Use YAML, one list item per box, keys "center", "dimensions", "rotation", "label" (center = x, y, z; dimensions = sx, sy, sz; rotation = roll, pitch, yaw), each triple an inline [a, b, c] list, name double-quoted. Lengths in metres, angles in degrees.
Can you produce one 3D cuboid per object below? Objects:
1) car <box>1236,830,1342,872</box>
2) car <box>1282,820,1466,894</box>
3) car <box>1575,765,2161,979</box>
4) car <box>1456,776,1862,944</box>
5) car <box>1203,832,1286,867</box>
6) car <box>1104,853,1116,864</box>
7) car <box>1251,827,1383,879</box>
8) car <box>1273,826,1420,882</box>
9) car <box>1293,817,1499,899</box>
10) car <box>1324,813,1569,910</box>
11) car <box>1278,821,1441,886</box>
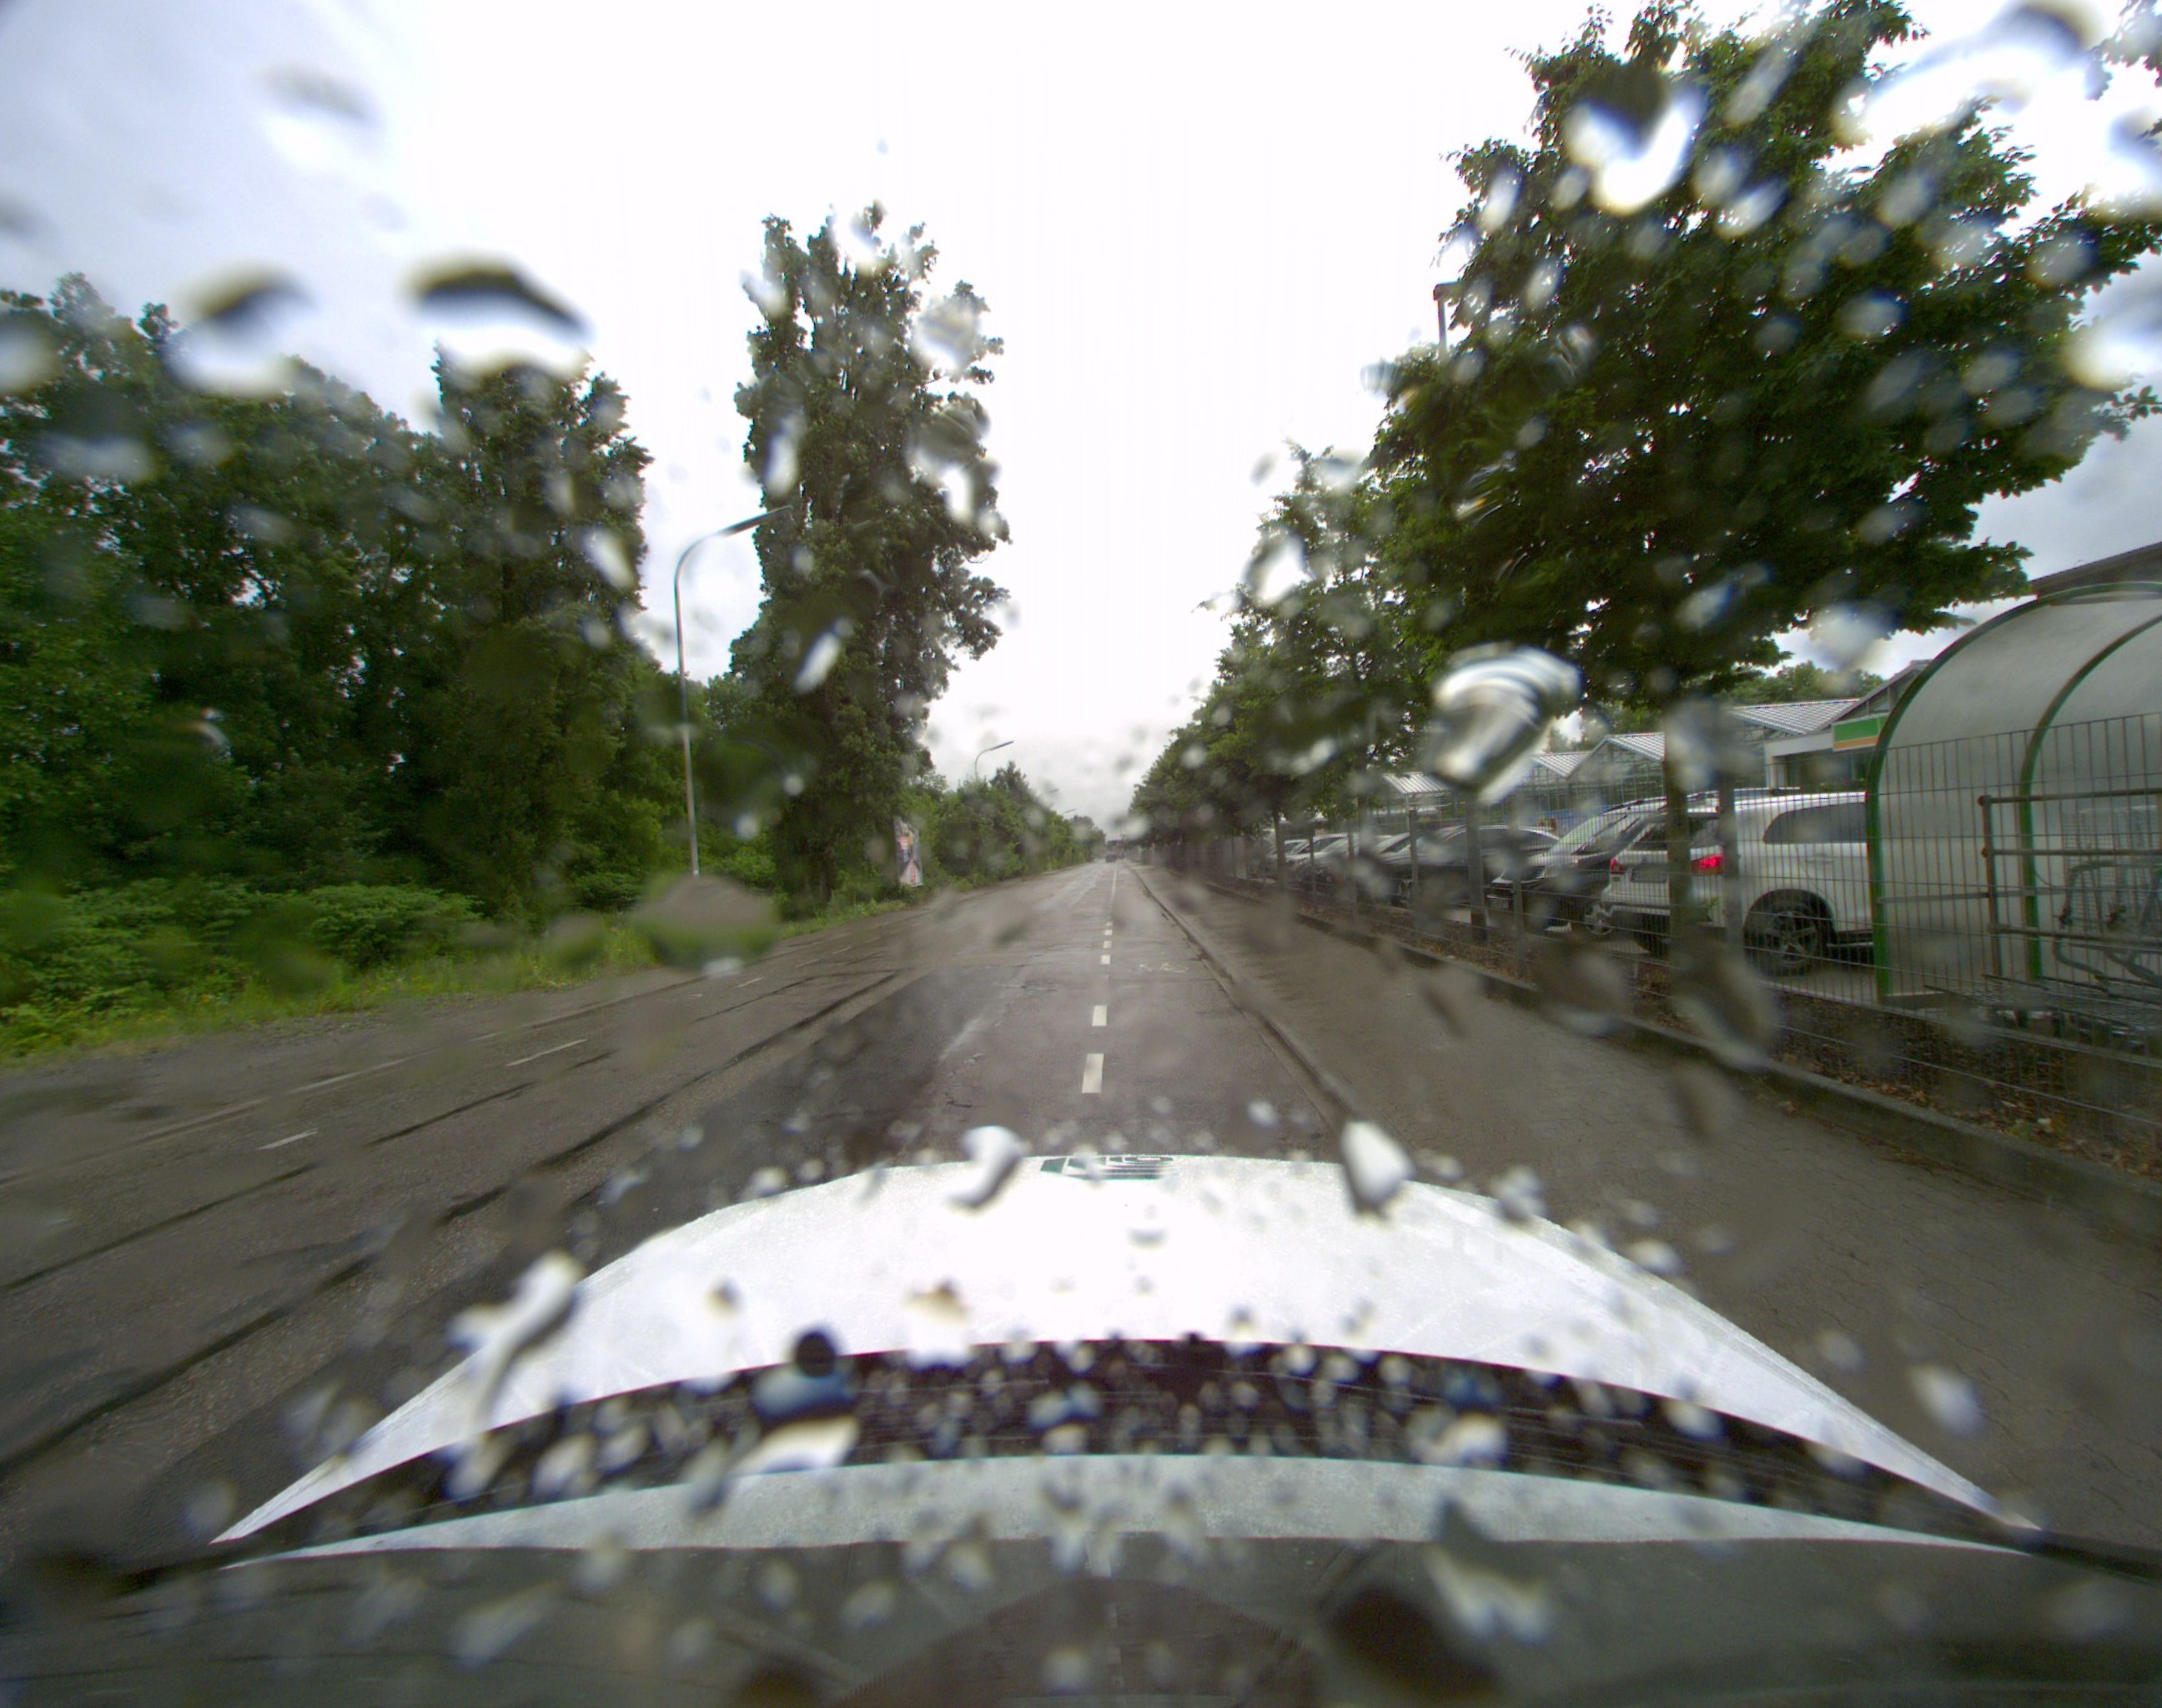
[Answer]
- center: [9.226, -0.134, 36.288]
  dimensions: [4.195, 1.588, 1.823]
  rotation: [-4, 0, -1]
  label: "car"
- center: [7.767, 0.064, 21.792]
  dimensions: [4.202, 1.618, 1.821]
  rotation: [-4, 0, -5]
  label: "car"
- center: [7.554, 0.152, 8.018]
  dimensions: [4.193, 1.601, 1.824]
  rotation: [-4, 0, 1]
  label: "car"
- center: [7.561, 0.056, 10.906]
  dimensions: [4.202, 1.794, 1.821]
  rotation: [-4, 0, -5]
  label: "car"
- center: [9.100, -0.258, 45.620]
  dimensions: [4.195, 1.677, 1.823]
  rotation: [-4, 0, -1]
  label: "car"
- center: [5.596, 0.880, 156.754]
  dimensions: [1.986, 1.910, 4.202]
  rotation: [-4, -1, 2]
  label: "car"
- center: [8.545, -0.049, 29.703]
  dimensions: [4.202, 1.588, 1.821]
  rotation: [-4, 0, -5]
  label: "car"
- center: [8.759, -0.014, 27.037]
  dimensions: [4.202, 1.534, 1.821]
  rotation: [-4, 0, -5]
  label: "car"
- center: [7.514, 0.088, 19.657]
  dimensions: [4.202, 1.618, 1.821]
  rotation: [-4, 0, -5]
  label: "car"
- center: [7.419, 0.129, 16.784]
  dimensions: [4.202, 1.618, 1.821]
  rotation: [-4, 0, -5]
  label: "car"
- center: [8.333, -0.016, 24.574]
  dimensions: [4.202, 1.618, 1.821]
  rotation: [-4, 0, -5]
  label: "car"
